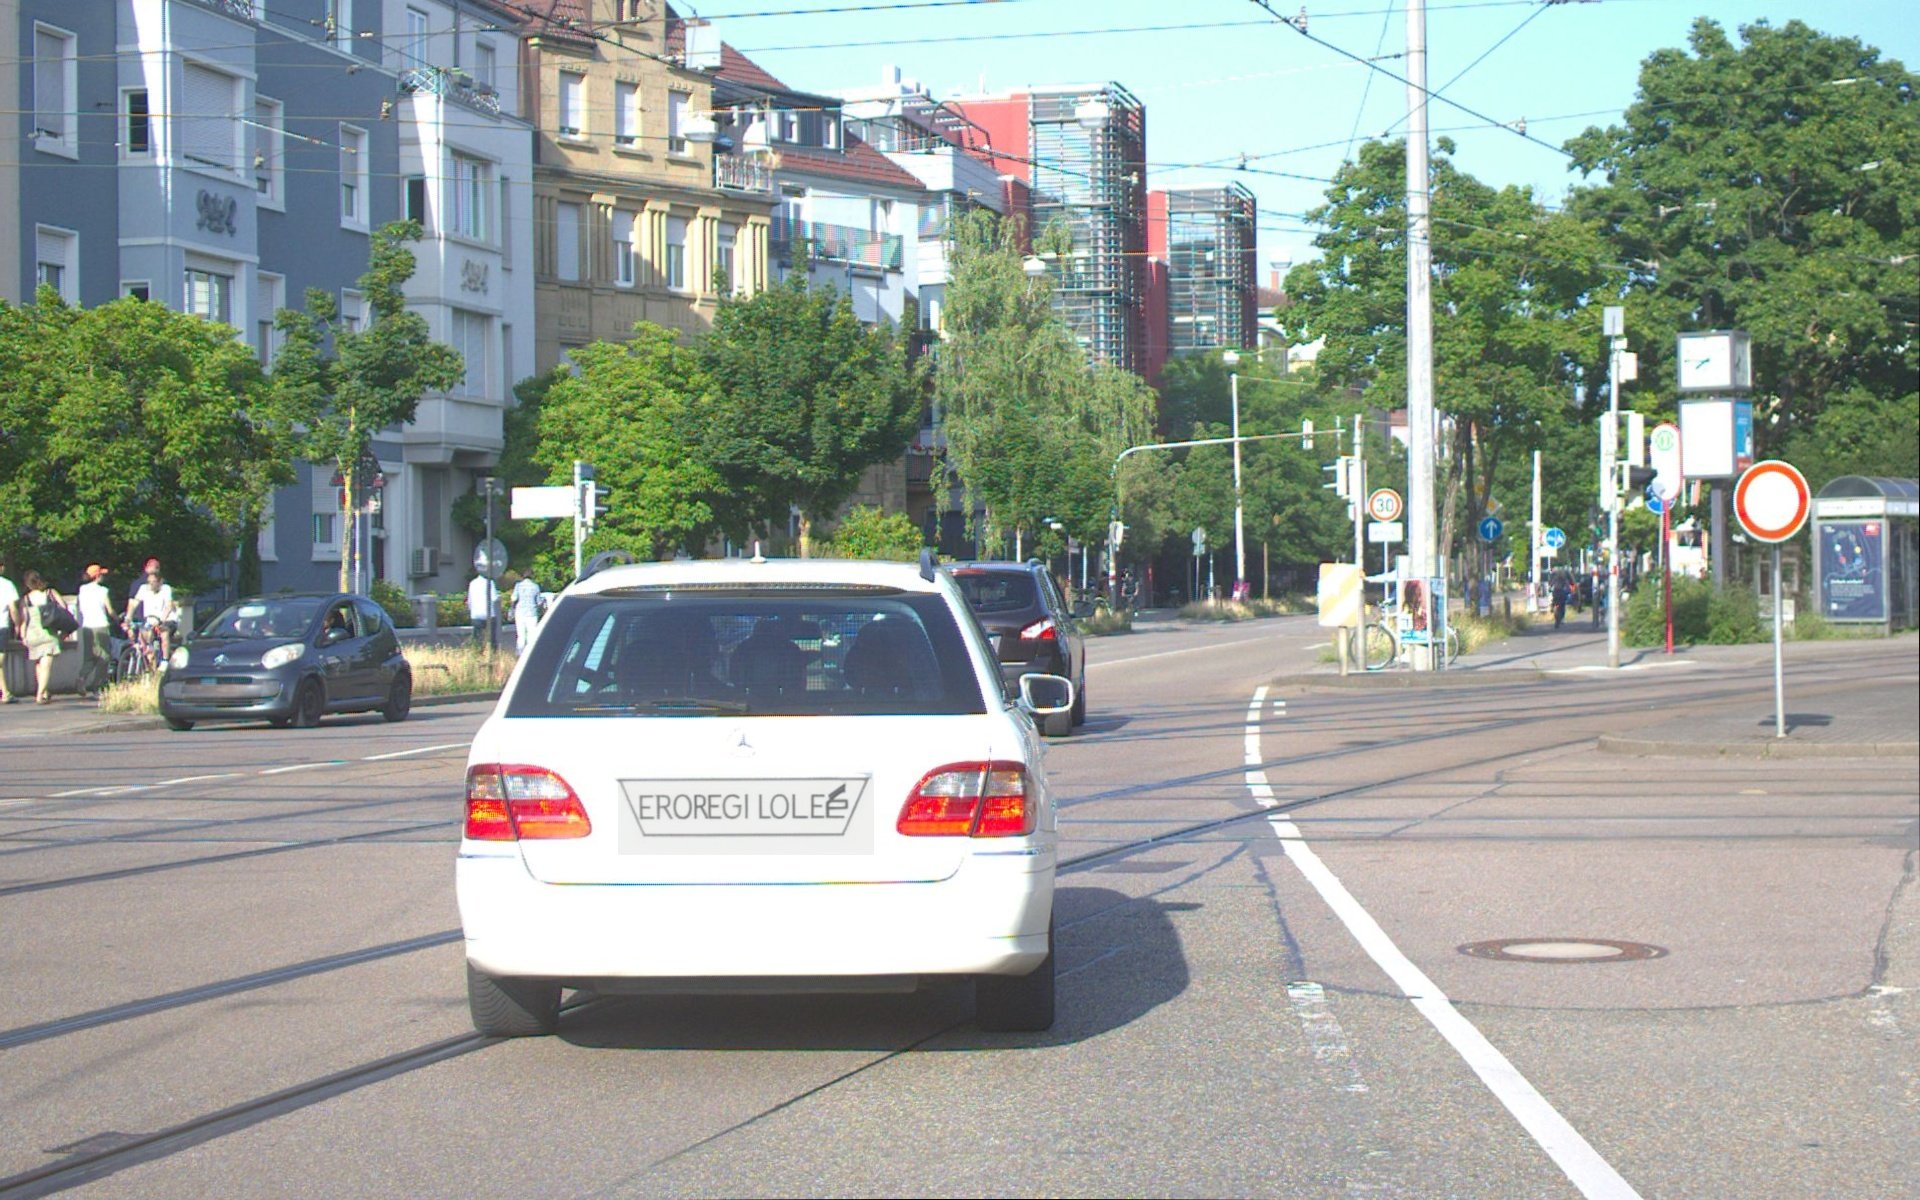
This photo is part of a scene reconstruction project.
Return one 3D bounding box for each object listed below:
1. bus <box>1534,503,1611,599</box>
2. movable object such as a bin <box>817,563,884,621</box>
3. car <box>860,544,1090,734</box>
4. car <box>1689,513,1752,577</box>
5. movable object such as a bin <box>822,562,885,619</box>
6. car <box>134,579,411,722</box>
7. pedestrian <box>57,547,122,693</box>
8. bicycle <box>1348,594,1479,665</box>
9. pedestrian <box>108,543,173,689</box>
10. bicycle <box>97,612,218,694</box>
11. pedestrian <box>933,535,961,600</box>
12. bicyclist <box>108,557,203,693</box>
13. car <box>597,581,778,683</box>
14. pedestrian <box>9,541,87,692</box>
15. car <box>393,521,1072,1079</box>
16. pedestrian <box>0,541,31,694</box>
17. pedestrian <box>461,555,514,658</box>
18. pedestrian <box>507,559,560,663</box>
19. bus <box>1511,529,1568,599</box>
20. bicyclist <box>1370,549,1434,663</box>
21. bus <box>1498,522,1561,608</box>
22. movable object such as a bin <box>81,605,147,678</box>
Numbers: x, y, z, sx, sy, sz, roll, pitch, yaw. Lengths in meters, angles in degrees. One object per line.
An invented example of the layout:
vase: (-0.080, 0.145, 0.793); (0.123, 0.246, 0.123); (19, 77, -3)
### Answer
bus: (16.195, -1.282, 91.069); (1.798, 2.405, 3.998); (2, 0, 8)
movable object such as a bin: (-2.718, -0.201, 85.373); (1.603, 1.416, 1.084); (-1, 0, 0)
car: (0.198, 0.320, 31.386); (1.642, 1.595, 3.814); (1, 0, 7)
car: (22.682, -1.618, 102.450); (1.747, 1.867, 3.997); (0, 0, 14)
movable object such as a bin: (-2.675, -0.249, 86.548); (1.533, 1.416, 1.084); (-1, 0, 0)
car: (-7.241, 0.502, 36.532); (1.635, 1.428, 3.626); (0, 1, 11)
pedestrian: (-11.228, 0.253, 44.372); (0.584, 1.874, 0.626); (0, 0, 11)
bicycle: (6.867, 0.448, 52.075); (1.914, 0.991, 0.726); (-2, 0, 7)
pedestrian: (-10.605, 0.207, 44.494); (0.585, 1.874, 0.626); (0, 0, 12)
bicycle: (-9.939, 0.650, 42.660); (0.769, 0.962, 2.033); (0, 1, 8)
pedestrian: (-0.342, -0.869, 92.719); (0.638, 1.745, 0.607); (-1, 0, 10)
bicyclist: (-9.948, 0.298, 42.560); (0.760, 1.662, 1.167); (0, 0, 8)
car: (-3.917, 0.457, 50.012); (1.689, 1.415, 3.998); (-1, 0, 10)
pedestrian: (-11.249, 0.200, 42.417); (0.674, 1.842, 0.649); (0, 0, 15)
car: (-0.645, 0.534, 11.363); (1.835, 1.496, 3.815); (1, 0, -1)
pedestrian: (-11.916, 0.213, 42.412); (0.659, 1.874, 0.626); (0, 0, 11)
pedestrian: (-8.095, 0.103, 58.886); (0.638, 1.745, 0.911); (-1, 0, 10)
pedestrian: (-7.273, 0.180, 58.678); (0.638, 1.745, 0.911); (-1, 0, 10)
bus: (20.508, -1.258, 121.812); (1.798, 2.325, 3.999); (2, 0, 8)
bicyclist: (6.698, 0.084, 52.094); (0.899, 1.693, 0.732); (-2, 0, 8)
bus: (17.665, -1.056, 106.757); (1.798, 2.546, 3.998); (2, 0, 9)
movable object such as a bin: (-11.125, 0.541, 45.214); (0.583, 0.943, 0.662); (0, 0, 17)
